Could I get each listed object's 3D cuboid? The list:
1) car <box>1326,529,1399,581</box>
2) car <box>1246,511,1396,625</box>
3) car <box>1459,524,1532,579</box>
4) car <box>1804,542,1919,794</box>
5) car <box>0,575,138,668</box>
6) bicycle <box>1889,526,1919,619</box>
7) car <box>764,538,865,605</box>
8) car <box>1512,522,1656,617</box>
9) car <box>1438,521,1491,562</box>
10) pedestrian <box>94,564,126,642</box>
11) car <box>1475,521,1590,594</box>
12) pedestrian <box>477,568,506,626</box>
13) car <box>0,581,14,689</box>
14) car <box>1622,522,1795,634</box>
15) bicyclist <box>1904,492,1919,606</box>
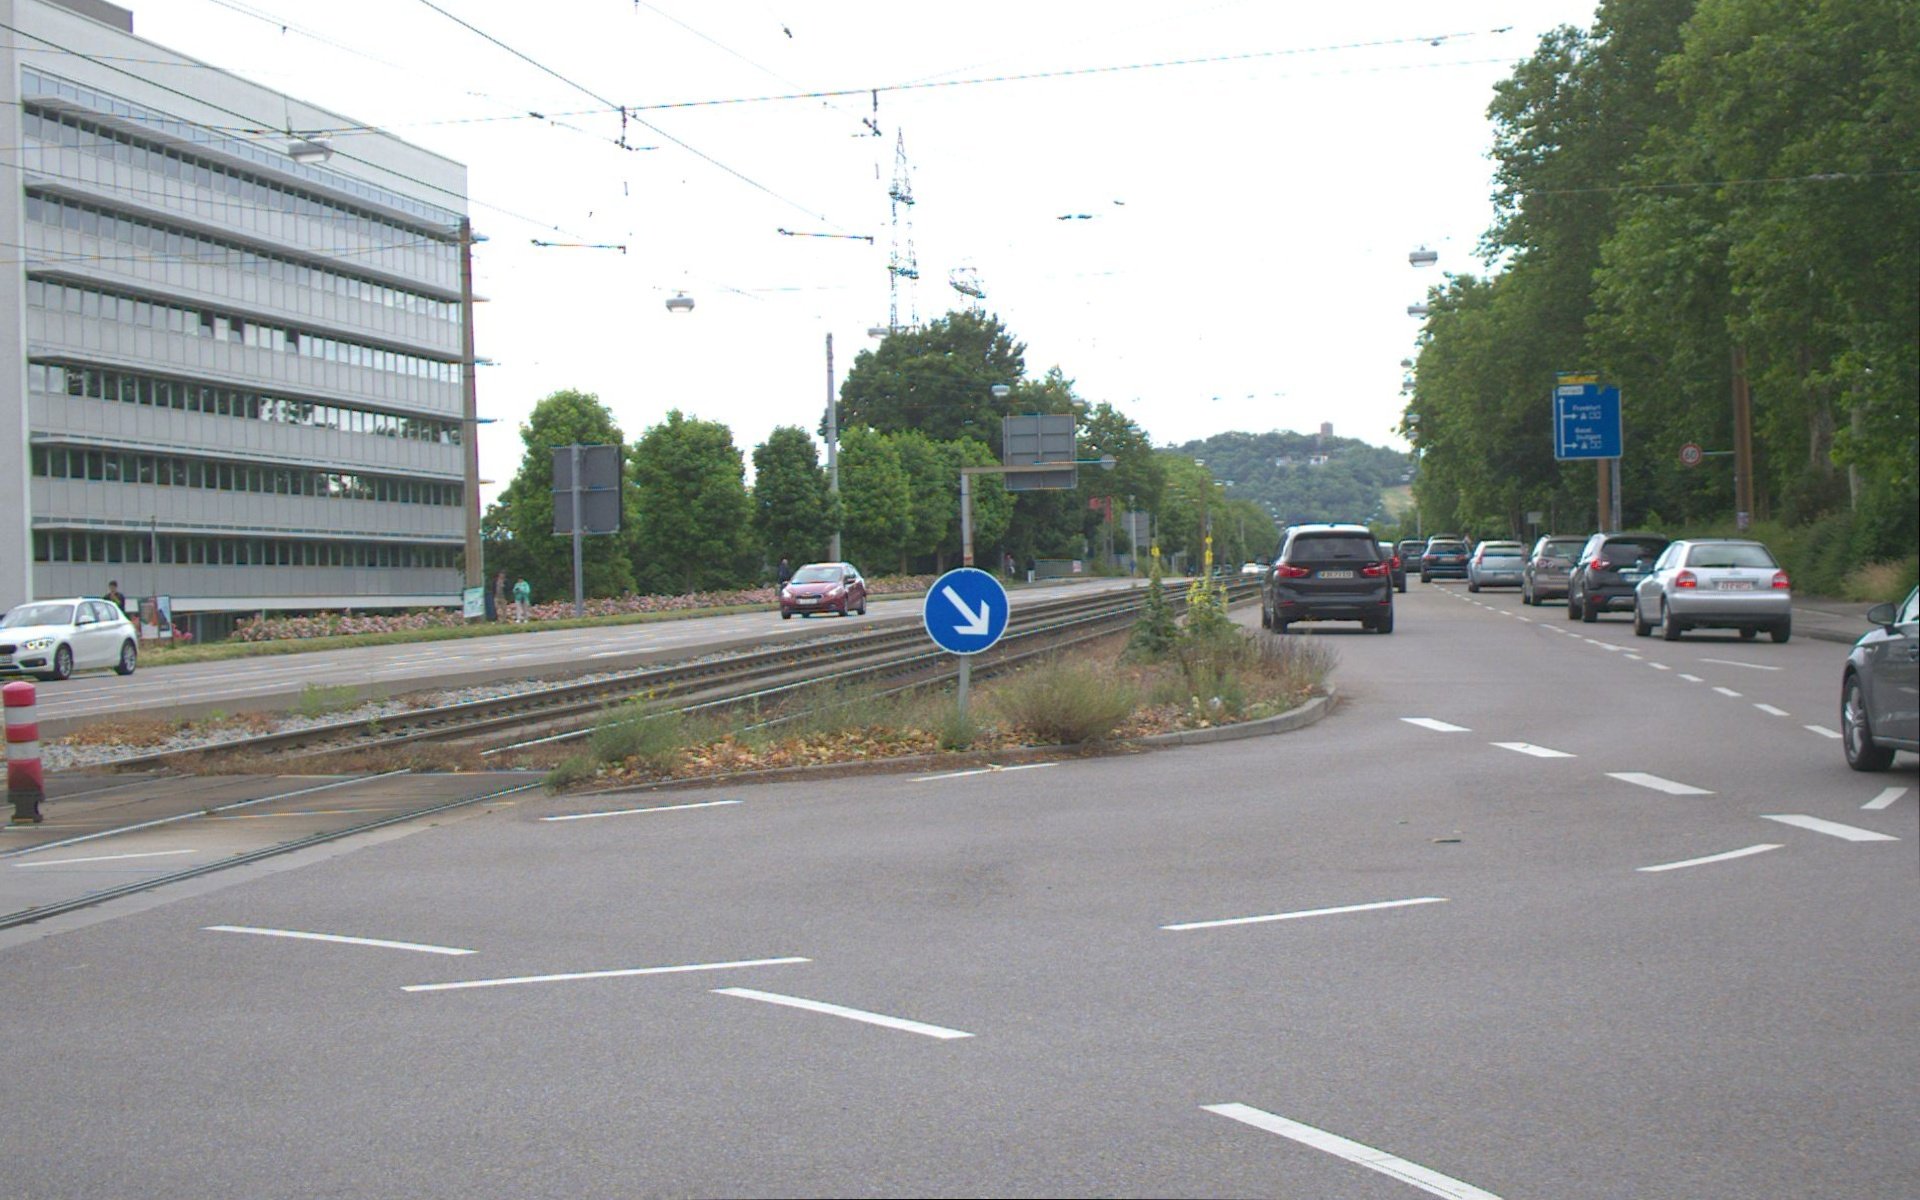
[{"bbox_3d":[11.341,-1.292,96.994,1.746,1.426,3.375,0,1,1],"label":"car"},{"bbox_3d":[5.399,-0.489,51.873,1.832,1.631,4.317,-1,1,1],"label":"car"},{"bbox_3d":[15.051,-1.351,96.760,1.815,1.475,3.671,0,0,6],"label":"car"},{"bbox_3d":[6.203,0.361,19.745,1.738,1.397,4.077,-1,1,1],"label":"car"},{"bbox_3d":[-15.979,0.342,60.024,1.728,1.533,4.044,0,1,9],"label":"car"},{"bbox_3d":[12.977,-0.361,44.981,0.816,1.181,2.523,-3,2,-3],"label":"bicycle"},{"bbox_3d":[-3.940,-0.803,93.729,1.994,1.722,3.999,-2,1,9],"label":"car"},{"bbox_3d":[10.868,-0.531,60.093,1.856,1.556,4.317,1,0,2],"label":"car"},{"bbox_3d":[19.227,-2.220,131.180,1.815,1.475,3.671,0,0,6],"label":"car"},{"bbox_3d":[-19.331,0.068,78.219,0.695,1.784,0.643,0,0,-14],"label":"pedestrian"},{"bbox_3d":[12.845,-0.943,77.352,1.856,1.556,4.317,1,0,0],"label":"car"},{"bbox_3d":[-13.364,-0.072,98.105,0.544,1.648,0.613,0,0,42],"label":"pedestrian"},{"bbox_3d":[-14.394,0.512,45.326,1.832,1.459,4.205,-1,1,15],"label":"car"},{"bbox_3d":[10.445,-0.331,48.180,1.728,1.504,3.632,0,1,2],"label":"car"},{"bbox_3d":[12.925,-0.677,44.928,0.816,1.473,1.000,-3,2,-3],"label":"bicyclist"}]
